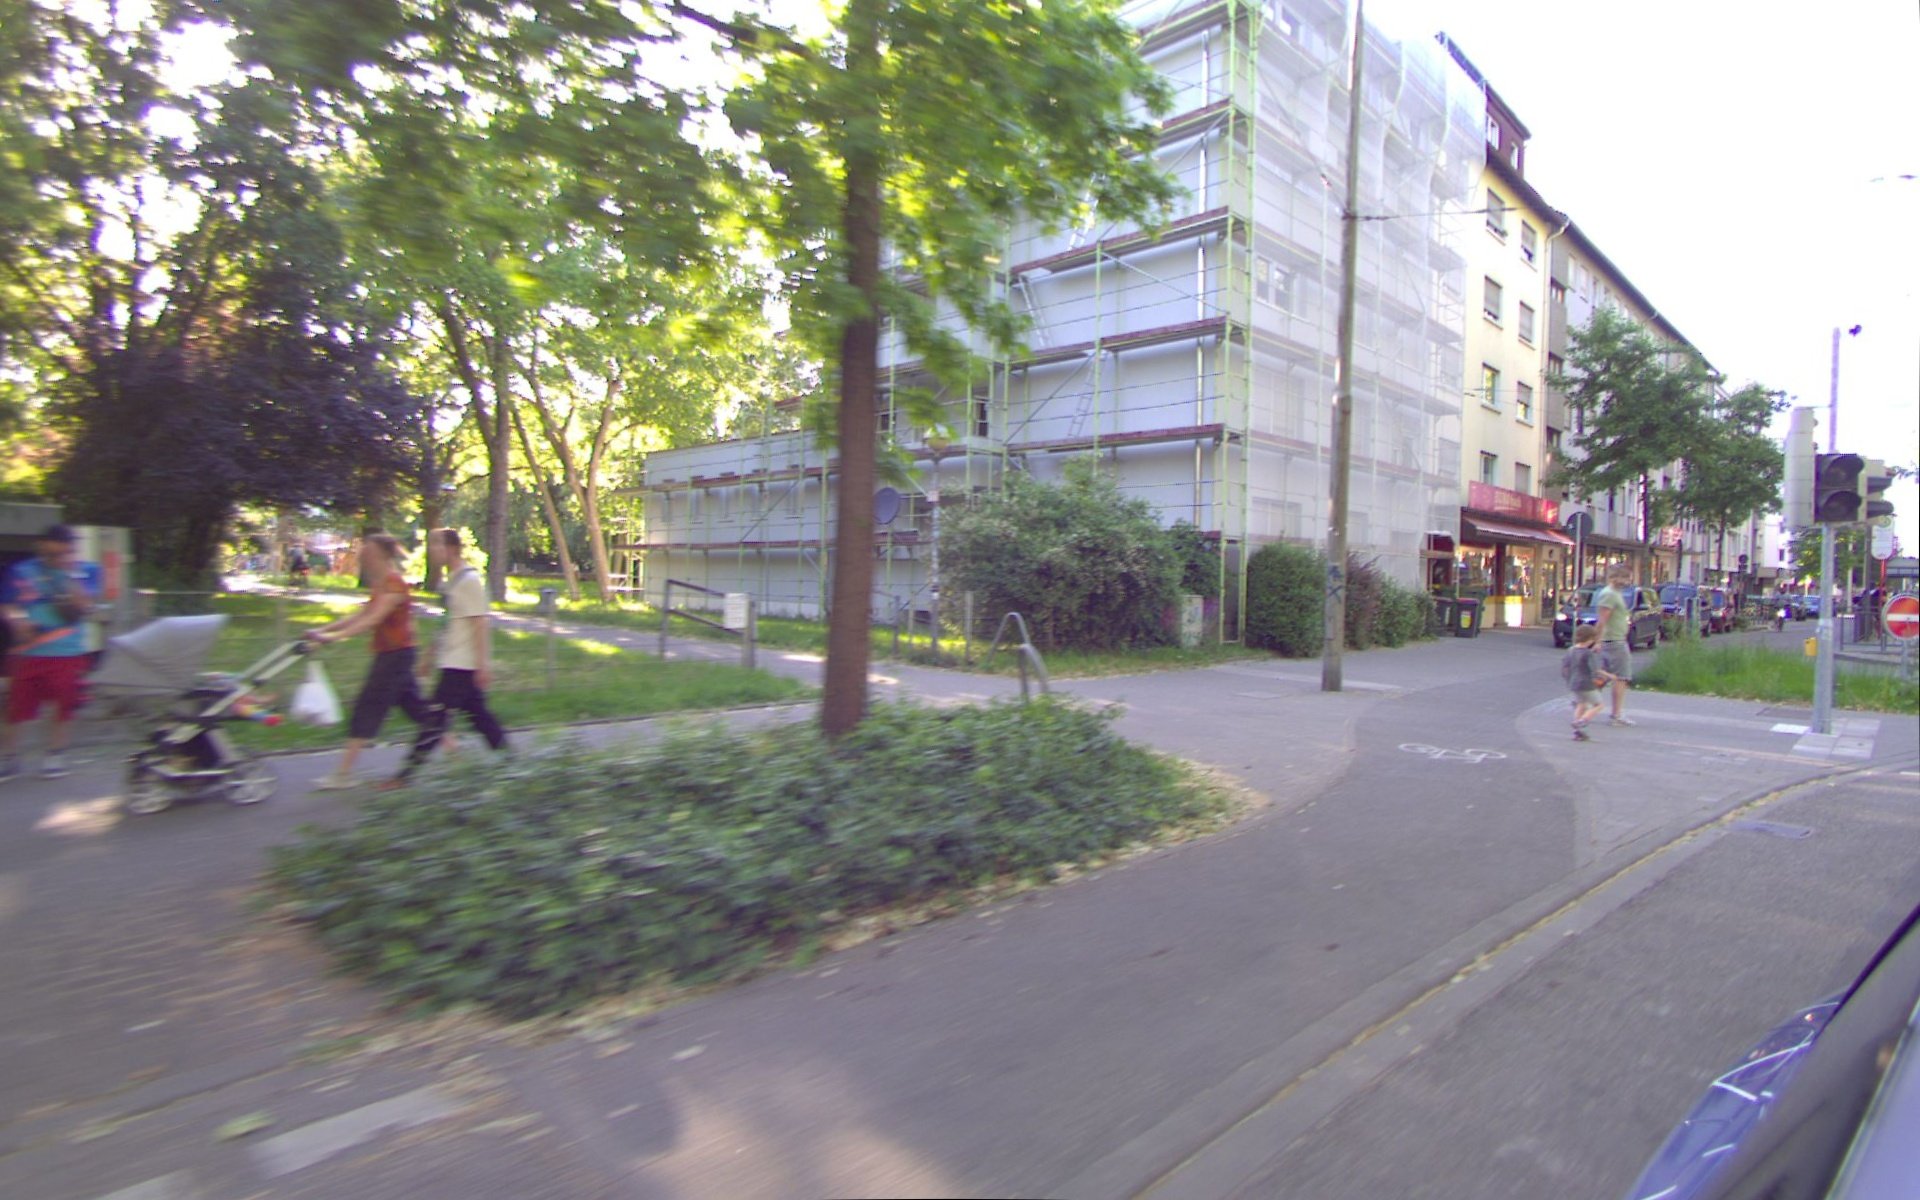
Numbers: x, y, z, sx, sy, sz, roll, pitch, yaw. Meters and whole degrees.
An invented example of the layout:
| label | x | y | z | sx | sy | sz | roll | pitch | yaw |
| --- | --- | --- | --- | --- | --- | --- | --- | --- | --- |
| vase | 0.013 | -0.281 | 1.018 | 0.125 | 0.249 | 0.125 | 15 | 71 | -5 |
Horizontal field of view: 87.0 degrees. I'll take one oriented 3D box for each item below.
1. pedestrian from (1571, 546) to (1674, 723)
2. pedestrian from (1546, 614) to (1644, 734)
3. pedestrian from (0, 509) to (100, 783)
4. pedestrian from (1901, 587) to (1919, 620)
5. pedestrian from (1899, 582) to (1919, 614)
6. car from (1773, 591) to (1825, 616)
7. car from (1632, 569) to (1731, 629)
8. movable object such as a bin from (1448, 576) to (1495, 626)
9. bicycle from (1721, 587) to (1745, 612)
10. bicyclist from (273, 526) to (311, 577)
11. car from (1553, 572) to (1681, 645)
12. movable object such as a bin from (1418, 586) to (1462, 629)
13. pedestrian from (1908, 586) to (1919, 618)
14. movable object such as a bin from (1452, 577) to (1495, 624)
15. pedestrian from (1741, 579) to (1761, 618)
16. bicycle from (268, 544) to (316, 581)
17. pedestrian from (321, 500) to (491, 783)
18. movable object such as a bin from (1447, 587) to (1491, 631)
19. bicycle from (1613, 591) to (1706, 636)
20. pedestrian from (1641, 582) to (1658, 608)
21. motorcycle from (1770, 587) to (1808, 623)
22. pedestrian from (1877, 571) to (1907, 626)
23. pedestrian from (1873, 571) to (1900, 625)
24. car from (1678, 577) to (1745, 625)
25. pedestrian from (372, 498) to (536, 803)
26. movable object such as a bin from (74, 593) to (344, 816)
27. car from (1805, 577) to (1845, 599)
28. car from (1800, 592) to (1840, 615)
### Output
| label | x | y | z | sx | sy | sz | roll | pitch | yaw |
| --- | --- | --- | --- | --- | --- | --- | --- | --- | --- |
| pedestrian | 7.521 | 0.360 | 11.541 | 0.862 | 1.908 | 0.989 | 0 | 0 | 27 |
| pedestrian | 6.376 | 0.721 | 10.188 | 0.667 | 1.132 | 0.656 | 0 | 0 | 16 |
| pedestrian | -6.168 | 0.287 | 6.827 | 0.545 | 1.747 | 0.618 | 0 | 0 | -42 |
| pedestrian | 39.555 | 0.146 | 41.978 | 0.716 | 1.343 | 0.487 | 0 | 0 | 35 |
| pedestrian | 47.601 | -0.115 | 50.633 | 0.837 | 1.596 | 0.650 | 0 | 0 | -27 |
| car | 52.379 | 0.212 | 63.142 | 4.582 | 1.502 | 1.955 | -1 | 0 | -44 |
| car | 25.114 | -0.061 | 35.171 | 4.124 | 1.919 | 1.996 | 0 | 3 | -44 |
| movable object such as a bin | 15.033 | 0.010 | 29.729 | 0.999 | 1.414 | 0.812 | 4 | 3 | 43 |
| bicycle | 40.045 | -0.022 | 52.417 | 0.771 | 1.194 | 2.742 | 8 | 5 | 40 |
| bicyclist | -23.917 | -1.711 | 36.227 | 1.065 | 1.767 | 0.921 | 0 | 1 | 45 |
| car | 16.972 | 0.189 | 26.058 | 4.368 | 1.641 | 1.764 | 0 | 3 | -44 |
| movable object such as a bin | 13.211 | 0.207 | 27.858 | 0.881 | 1.124 | 0.686 | 4 | 3 | 43 |
| pedestrian | 39.984 | 0.087 | 42.195 | 0.582 | 1.321 | 0.520 | 0 | 0 | 34 |
| movable object such as a bin | 15.551 | 0.013 | 30.654 | 0.923 | 1.367 | 0.812 | 4 | 3 | 43 |
| pedestrian | 38.086 | -0.086 | 48.724 | 0.678 | 1.827 | 0.761 | 0 | 1 | 42 |
| bicycle | -23.987 | -1.326 | 36.299 | 2.682 | 1.281 | 0.921 | 1 | 1 | 45 |
| pedestrian | -3.863 | 0.251 | 7.046 | 0.949 | 1.815 | 0.729 | 1 | 3 | -34 |
| movable object such as a bin | 13.964 | 0.237 | 27.782 | 0.881 | 1.124 | 0.686 | 4 | 3 | 43 |
| bicycle | 22.001 | 0.403 | 31.864 | 1.013 | 1.224 | 2.206 | -1 | 4 | -45 |
| pedestrian | 33.051 | -0.256 | 48.503 | 0.676 | 1.220 | 0.641 | 0 | 1 | 34 |
| motorcycle | 35.059 | 0.179 | 42.793 | 1.052 | 1.472 | 2.173 | 1 | 1 | 45 |
| pedestrian | 30.741 | -0.064 | 33.393 | 0.686 | 1.777 | 0.572 | 0 | 0 | 39 |
| pedestrian | 31.103 | -0.074 | 33.981 | 0.689 | 1.792 | 0.495 | 0 | 0 | -30 |
| car | 29.665 | -0.002 | 39.905 | 1.688 | 1.777 | 4.109 | 1 | 1 | 43 |
| pedestrian | -3.275 | 0.285 | 6.536 | 0.837 | 1.815 | 0.729 | 1 | 3 | -34 |
| movable object such as a bin | -4.601 | 0.586 | 6.285 | 1.280 | 1.217 | 0.641 | 0 | 3 | -35 |
| car | 64.106 | -0.909 | 74.993 | 1.994 | 1.601 | 3.936 | 1 | 1 | 45 |
| car | 60.107 | 0.218 | 70.719 | 1.895 | 1.504 | 3.936 | 1 | 1 | 45 |
